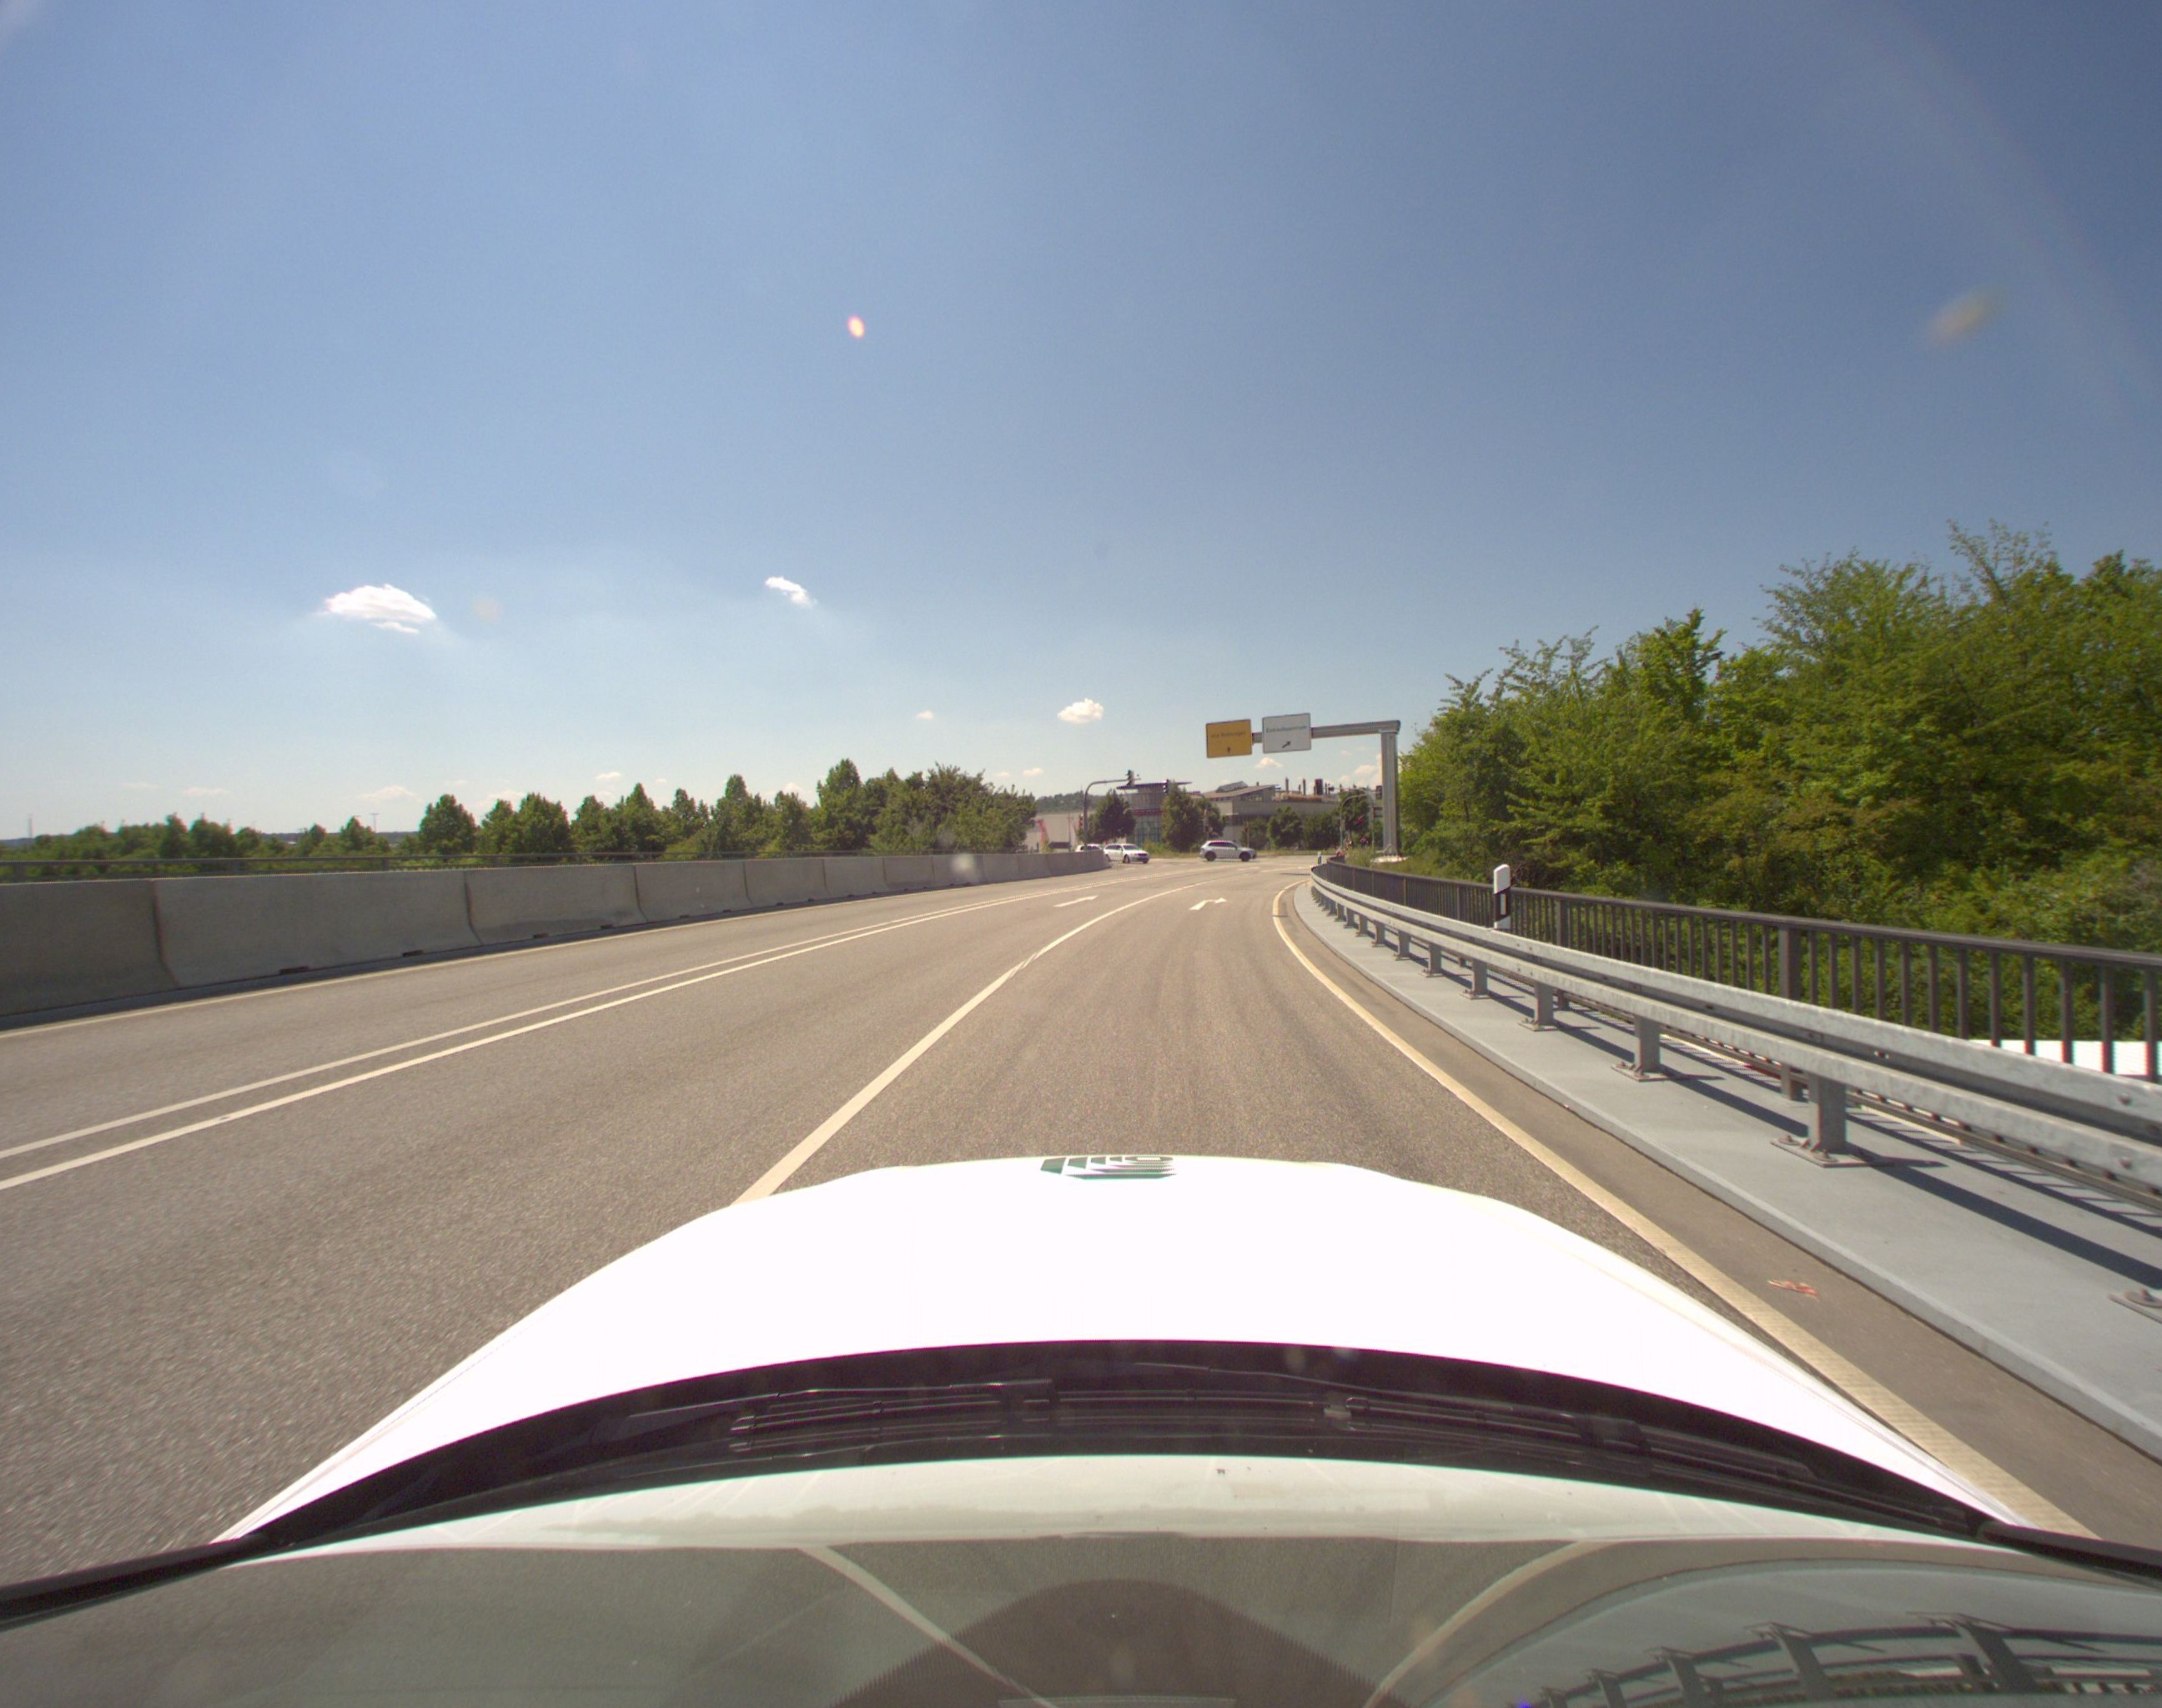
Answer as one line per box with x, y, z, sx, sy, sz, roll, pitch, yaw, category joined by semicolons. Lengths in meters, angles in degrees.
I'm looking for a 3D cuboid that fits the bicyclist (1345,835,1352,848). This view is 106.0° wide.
29.227;-1.313;88.934;0.688;1.404;0.404;0;2;-38;bicyclist

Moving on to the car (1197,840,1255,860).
11.501;-0.300;64.481;4.353;1.505;2.006;-2;0;11;car

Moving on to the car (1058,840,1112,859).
0.309;-0.386;69.283;4.083;1.486;2.012;1;1;28;car

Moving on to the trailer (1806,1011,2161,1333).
18.128;5.213;13.705;8.299;4.347;2.913;-2;-1;17;trailer

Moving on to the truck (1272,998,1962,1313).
9.611;5.473;16.364;10.889;4.347;2.913;-2;-1;18;truck

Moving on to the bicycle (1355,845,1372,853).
30.721;-0.586;88.526;2.134;0.852;0.530;-1;2;-32;bicycle

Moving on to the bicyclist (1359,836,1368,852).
30.658;-1.100;88.449;0.733;1.717;0.526;0;2;-31;bicyclist

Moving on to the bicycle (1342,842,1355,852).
29.218;-0.787;88.938;1.840;1.024;0.410;-1;3;-37;bicycle

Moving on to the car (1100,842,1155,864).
3.388;-0.069;60.086;1.799;1.495;4.507;-1;1;-31;car
